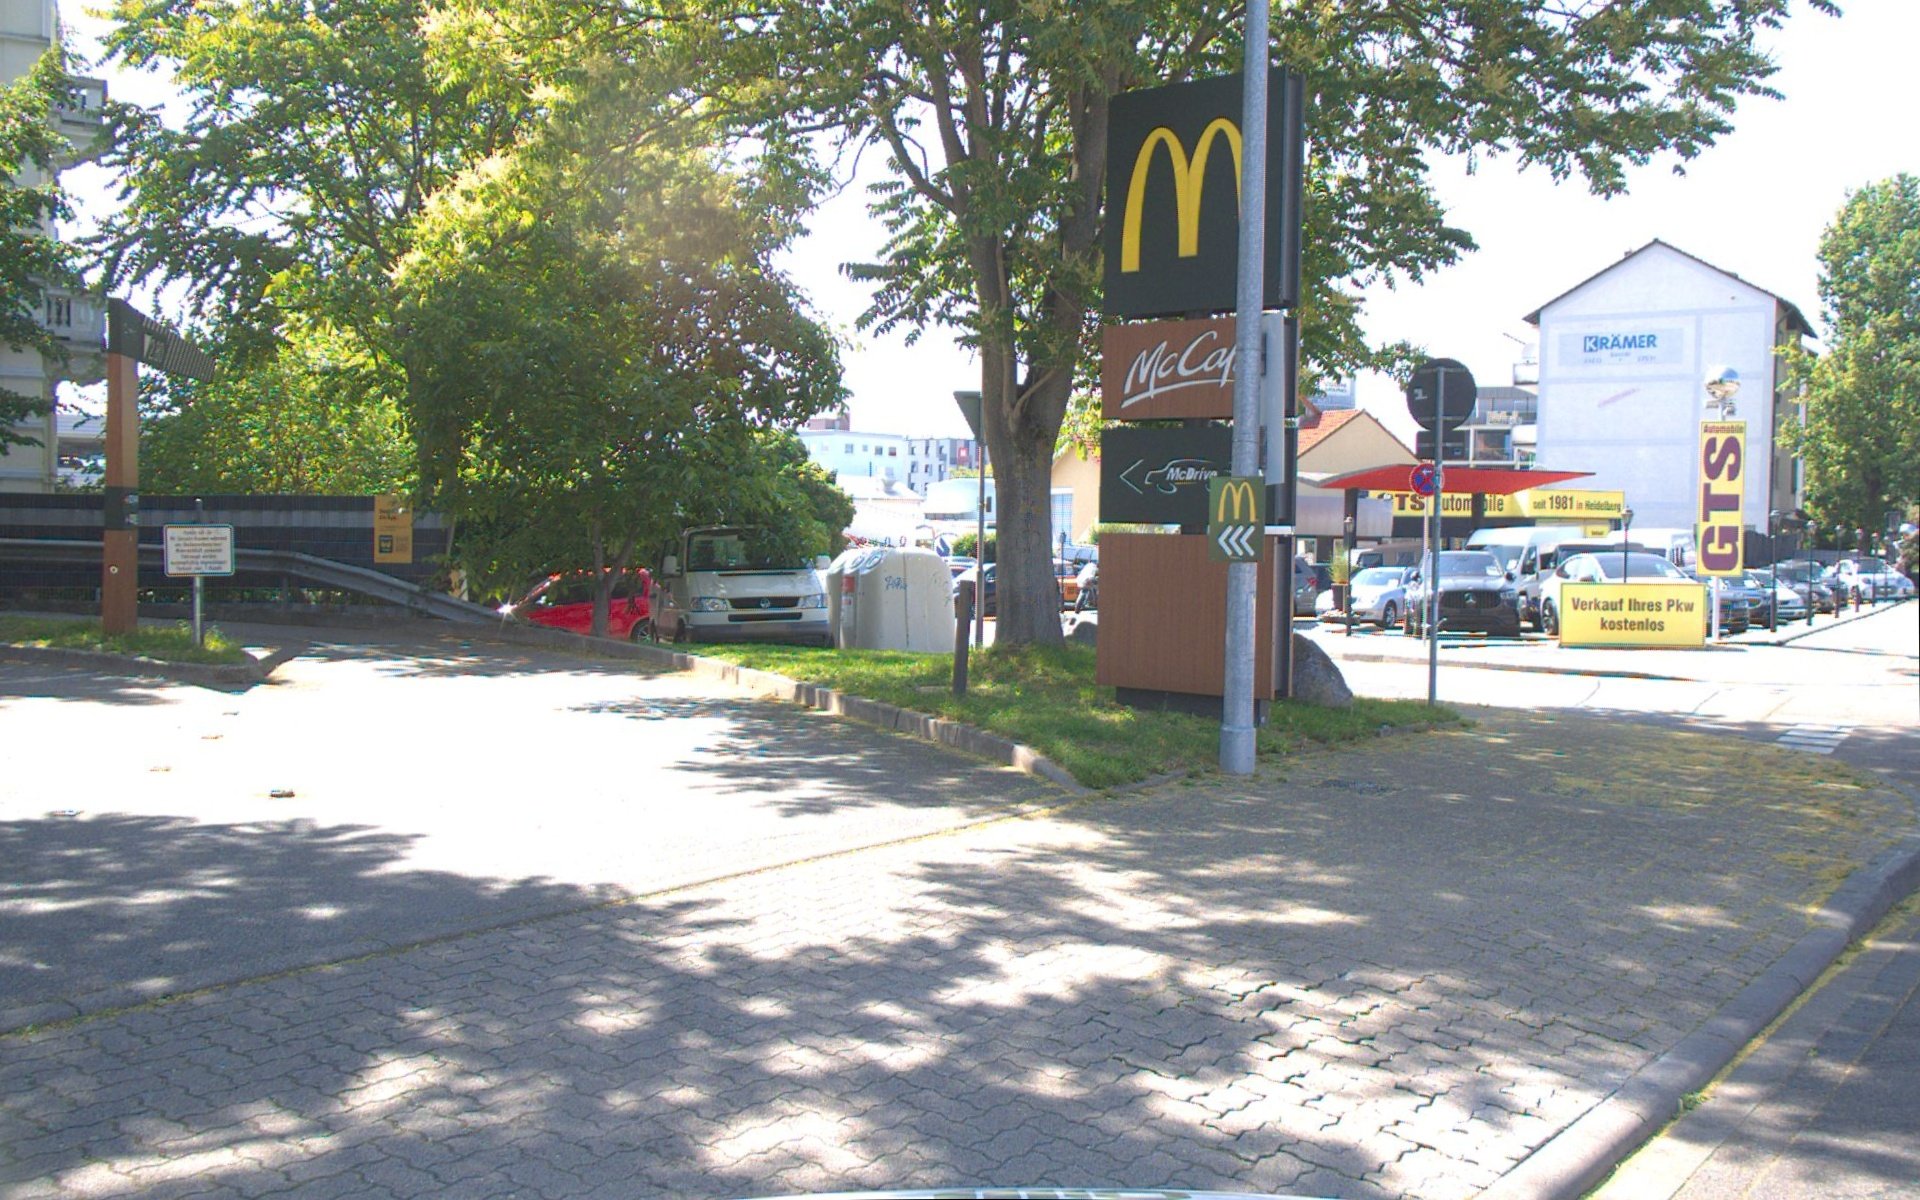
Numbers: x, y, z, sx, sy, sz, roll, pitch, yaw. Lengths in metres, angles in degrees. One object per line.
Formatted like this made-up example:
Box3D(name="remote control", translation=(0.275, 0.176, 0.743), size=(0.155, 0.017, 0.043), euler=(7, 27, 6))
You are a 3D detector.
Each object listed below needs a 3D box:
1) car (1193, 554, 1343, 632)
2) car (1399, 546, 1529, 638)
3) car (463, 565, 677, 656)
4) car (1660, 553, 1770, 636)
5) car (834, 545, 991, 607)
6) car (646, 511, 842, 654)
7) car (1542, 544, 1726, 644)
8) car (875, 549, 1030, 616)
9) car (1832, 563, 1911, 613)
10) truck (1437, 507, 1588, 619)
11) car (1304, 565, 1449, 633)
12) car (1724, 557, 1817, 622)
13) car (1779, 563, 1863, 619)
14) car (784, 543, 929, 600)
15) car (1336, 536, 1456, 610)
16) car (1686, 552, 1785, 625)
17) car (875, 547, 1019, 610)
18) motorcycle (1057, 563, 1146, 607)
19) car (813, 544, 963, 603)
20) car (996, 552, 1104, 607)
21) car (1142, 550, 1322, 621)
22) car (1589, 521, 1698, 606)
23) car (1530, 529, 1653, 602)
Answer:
Box3D(name="car", translation=(6.769, -0.163, 36.047), size=(1.757, 1.536, 3.988), euler=(3, 2, 33))
Box3D(name="car", translation=(9.906, -0.200, 32.819), size=(2.003, 1.622, 4.428), euler=(3, 2, 12))
Box3D(name="car", translation=(-6.697, 0.147, 28.410), size=(3.360, 1.402, 1.476), euler=(0, 4, -25))
Box3D(name="car", translation=(16.395, -0.172, 36.092), size=(1.818, 1.657, 4.001), euler=(2, 2, 20))
Box3D(name="car", translation=(-1.486, -0.762, 52.490), size=(4.597, 1.755, 1.977), euler=(2, 1, -34))
Box3D(name="car", translation=(-2.982, -0.325, 21.870), size=(1.919, 1.610, 5.013), euler=(2, 3, -15))
Box3D(name="car", translation=(13.135, -0.168, 32.501), size=(1.953, 1.755, 4.001), euler=(2, 2, 1))
Box3D(name="car", translation=(-0.223, -0.504, 47.128), size=(3.939, 1.735, 1.983), euler=(2, 2, -27))
Box3D(name="car", translation=(32.413, -0.470, 58.926), size=(1.818, 1.657, 4.001), euler=(2, 2, 20))
Box3D(name="truck", translation=(15.927, -1.048, 47.483), size=(2.233, 2.953, 5.918), euler=(4, 3, 37))
Box3D(name="car", translation=(10.252, -0.017, 40.578), size=(1.763, 1.513, 3.975), euler=(4, 2, 42))
Box3D(name="car", translation=(22.320, -0.321, 45.673), size=(1.818, 1.657, 4.001), euler=(2, 2, 20))
Box3D(name="car", translation=(27.333, -0.317, 52.625), size=(1.818, 1.657, 4.001), euler=(2, 2, 20))
Box3D(name="car", translation=(-3.553, -0.981, 57.100), size=(4.597, 1.755, 1.977), euler=(2, 1, -34))
Box3D(name="car", translation=(12.933, -0.779, 48.910), size=(1.960, 2.048, 4.480), euler=(3, 2, 35))
Box3D(name="car", translation=(19.177, -0.316, 41.057), size=(1.818, 1.657, 4.001), euler=(2, 2, 20))
Box3D(name="car", translation=(-0.394, -0.656, 50.462), size=(3.951, 1.755, 1.977), euler=(2, 1, -34))
Box3D(name="motorcycle", translation=(4.382, -0.464, 50.951), size=(2.686, 1.248, 0.988), euler=(1, 2, -34))
Box3D(name="car", translation=(-2.369, -0.871, 55.011), size=(4.597, 1.755, 1.977), euler=(2, 1, -34))
Box3D(name="car", translation=(2.920, -0.703, 54.562), size=(1.967, 1.612, 3.971), euler=(2, 2, -24))
Box3D(name="car", translation=(7.006, -0.391, 42.865), size=(4.234, 1.612, 1.999), euler=(2, 1, -3))
Box3D(name="car", translation=(20.168, -1.078, 48.684), size=(2.098, 2.324, 4.698), euler=(3, 2, 33))
Box3D(name="car", translation=(16.751, -0.905, 43.725), size=(1.846, 1.768, 4.705), euler=(4, 3, 35))
